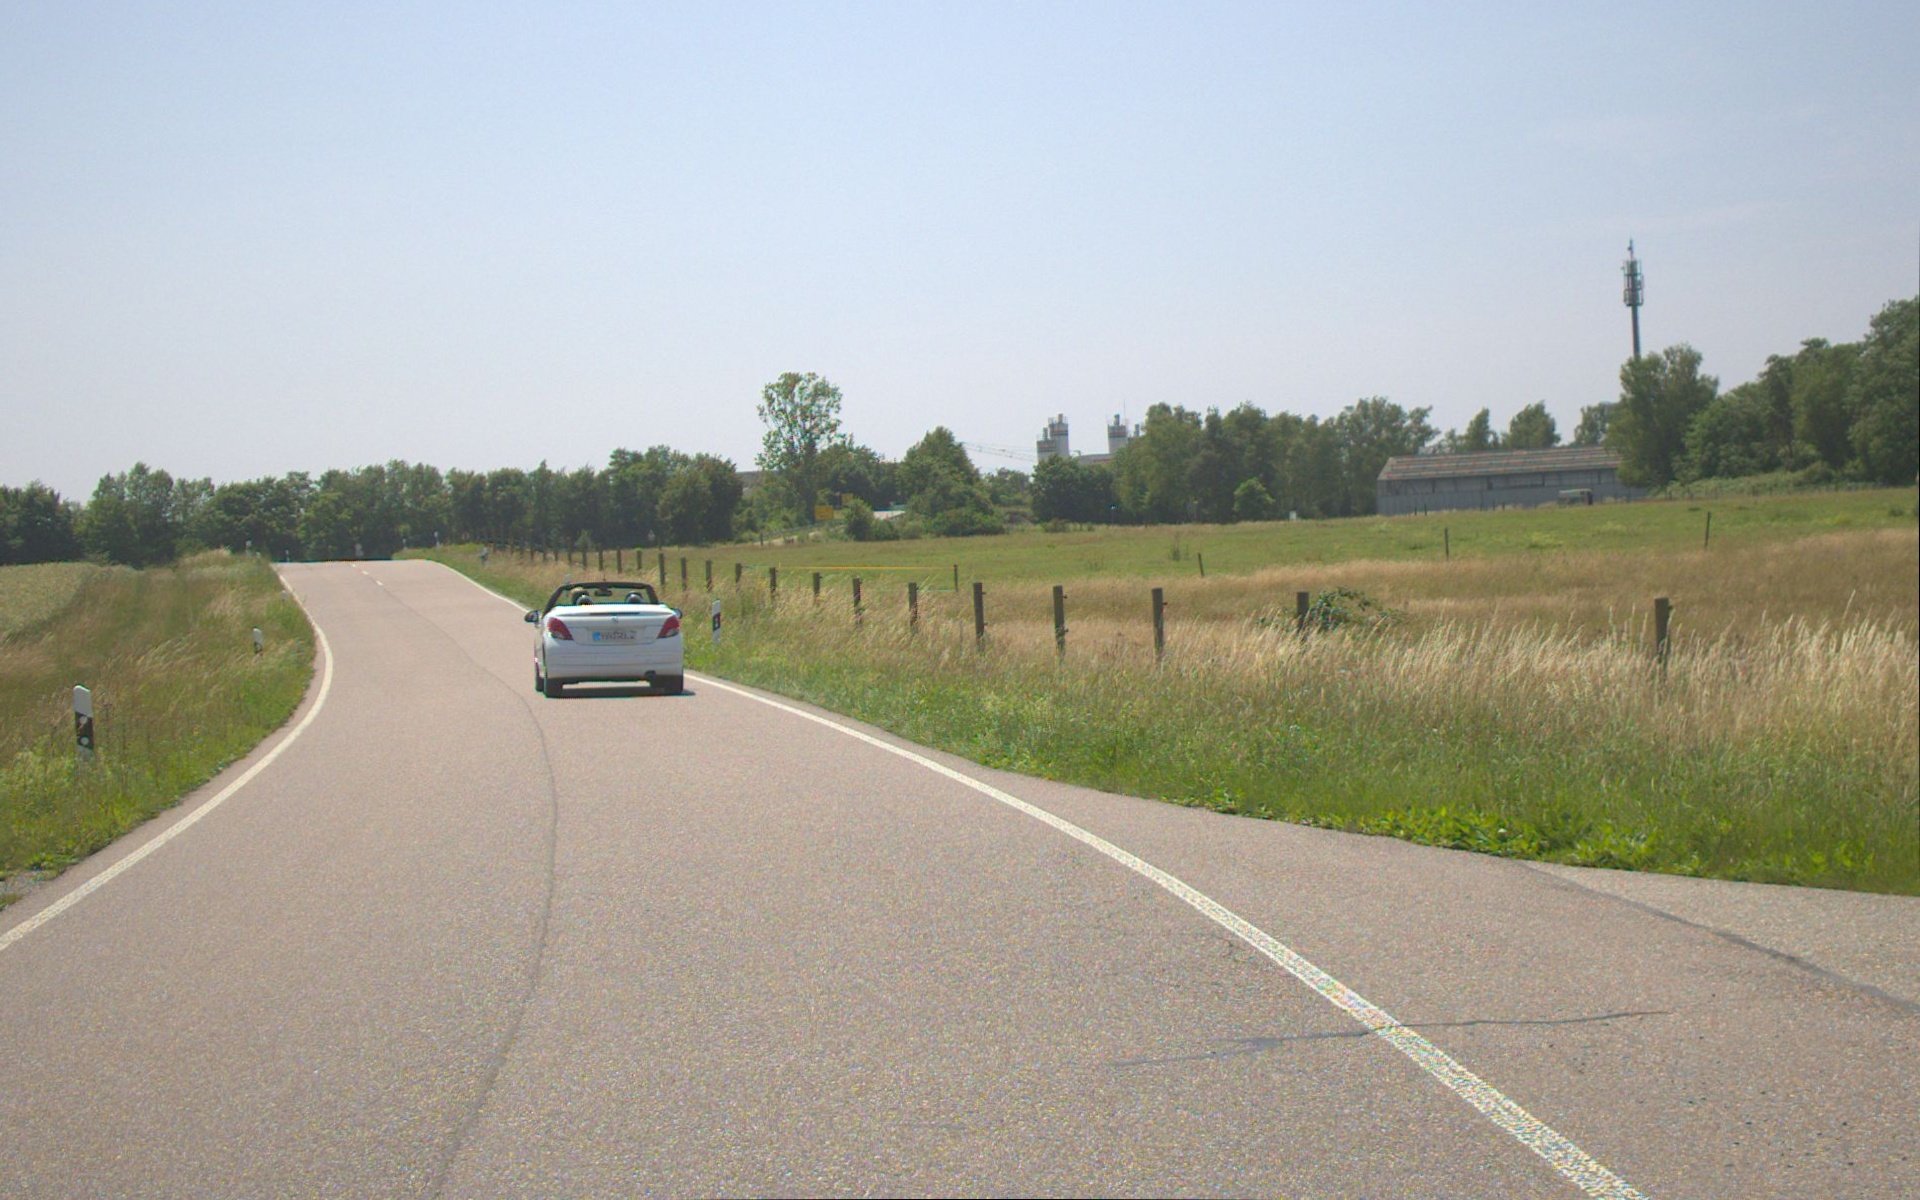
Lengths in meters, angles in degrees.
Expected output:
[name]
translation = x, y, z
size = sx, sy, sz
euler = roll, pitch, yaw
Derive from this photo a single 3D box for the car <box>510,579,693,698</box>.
[car]
translation = -4.516, 0.443, 42.879
size = 1.850, 1.374, 4.001
euler = -1, 0, -12
